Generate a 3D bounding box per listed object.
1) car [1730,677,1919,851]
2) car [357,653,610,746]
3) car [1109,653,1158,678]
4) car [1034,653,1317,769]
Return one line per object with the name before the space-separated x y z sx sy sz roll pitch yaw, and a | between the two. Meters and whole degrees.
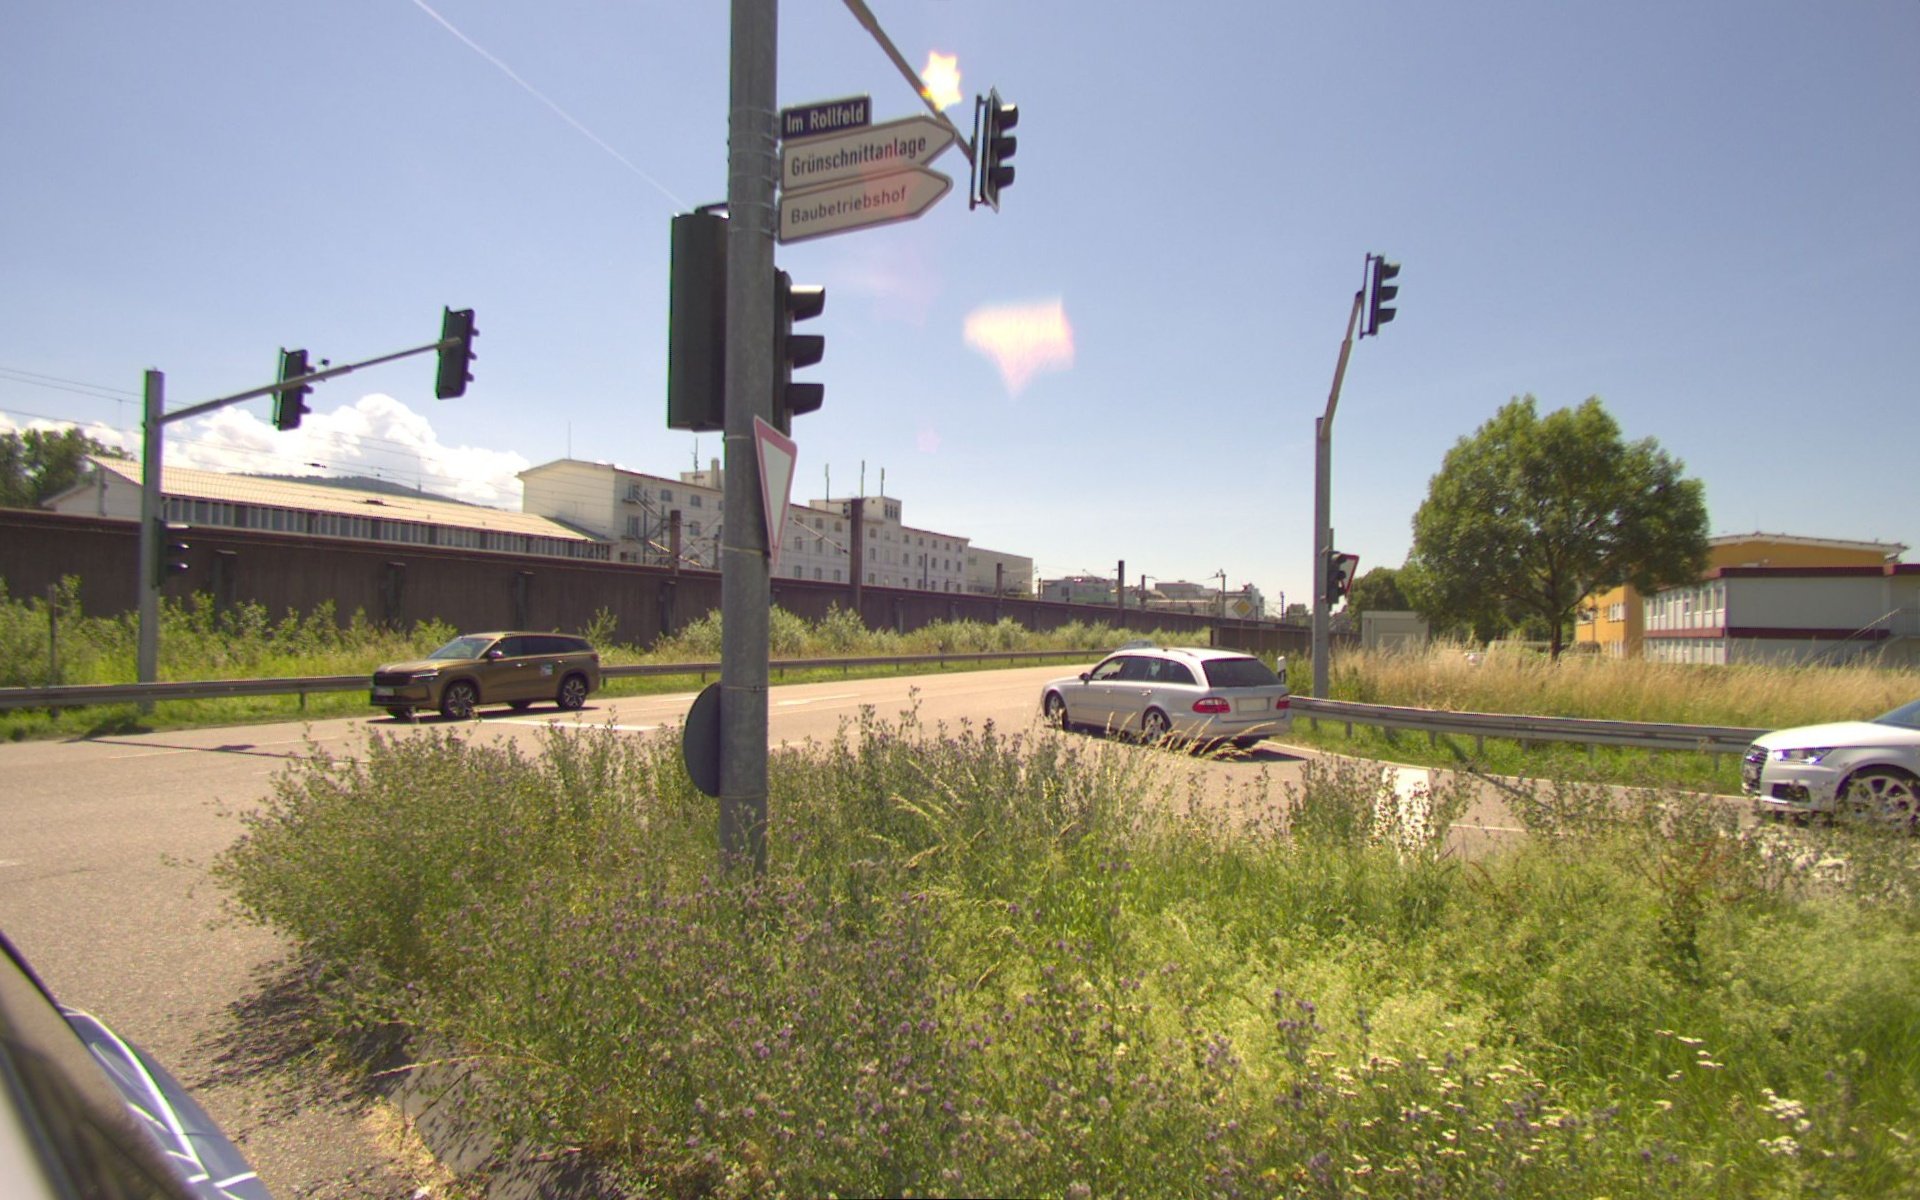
car | 9.490 1.453 9.035 3.838 1.420 1.717 -1 -3 26
car | -9.453 1.897 20.527 1.696 1.639 4.582 -1 -3 26
car | 10.613 3.947 61.682 1.779 1.466 4.478 -1 -3 26
car | 3.184 1.662 16.015 1.765 1.517 4.670 5 -5 -27
